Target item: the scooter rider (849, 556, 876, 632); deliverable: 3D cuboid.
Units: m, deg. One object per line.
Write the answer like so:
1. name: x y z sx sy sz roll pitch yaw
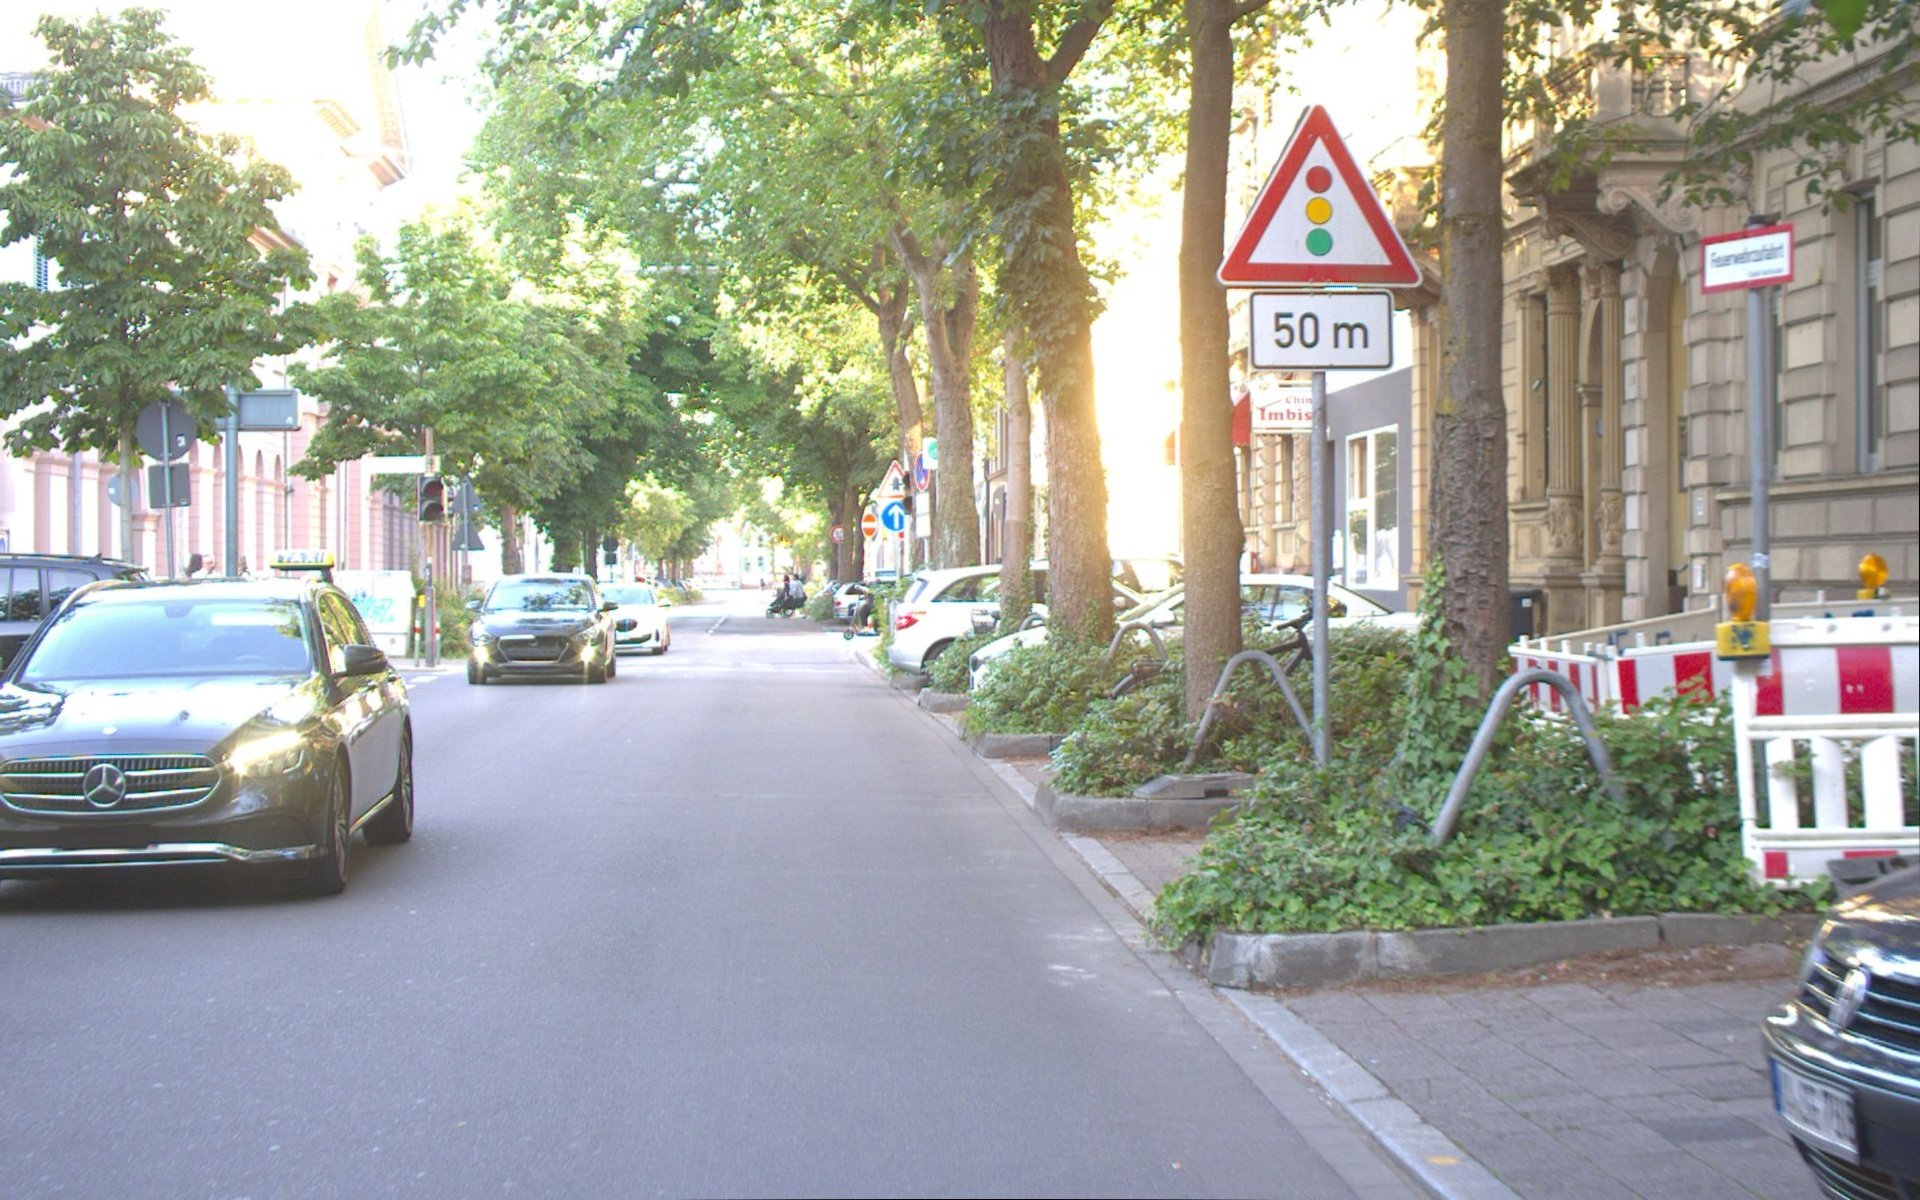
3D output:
1. scooter rider: -2.287 -0.143 80.909 0.494 1.785 0.874 0 -1 6

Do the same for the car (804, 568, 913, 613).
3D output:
1. car: -3.820 -0.367 129.242 4.014 1.617 1.781 -1 0 -4

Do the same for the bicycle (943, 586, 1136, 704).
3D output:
1. bicycle: 0.871 0.486 37.754 2.019 1.200 0.488 -2 0 -15

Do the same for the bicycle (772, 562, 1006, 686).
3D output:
1. bicycle: -0.973 0.324 46.904 3.112 1.657 0.658 1 0 -7

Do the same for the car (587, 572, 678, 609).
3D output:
1. car: -18.853 -0.550 198.138 5.064 2.076 2.263 -1 1 -2

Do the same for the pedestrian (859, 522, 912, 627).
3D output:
1. pedestrian: -1.549 -0.527 71.713 1.043 2.139 1.063 1 0 -3

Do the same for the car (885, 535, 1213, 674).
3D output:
1. car: 1.262 0.047 50.098 4.539 1.908 1.951 -1 0 -5

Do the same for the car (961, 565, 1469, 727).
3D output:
1. car: 2.325 0.406 32.238 4.583 1.432 1.925 -1 1 -1

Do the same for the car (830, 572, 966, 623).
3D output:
1. car: -1.984 -0.095 108.602 4.192 1.475 1.852 -2 1 -3

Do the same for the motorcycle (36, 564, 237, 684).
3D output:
1. motorcycle: -9.911 0.290 41.389 2.150 1.414 0.967 -1 0 18

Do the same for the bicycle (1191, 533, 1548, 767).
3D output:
1. bicycle: 2.464 0.299 20.755 2.046 1.356 0.508 1 1 -5

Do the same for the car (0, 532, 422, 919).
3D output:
1. car: -3.825 0.519 17.066 1.876 1.635 4.647 -1 1 -4

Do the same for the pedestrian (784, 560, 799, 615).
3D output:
1. pedestrian: -6.263 -0.457 127.607 0.502 2.007 0.621 1 0 -2

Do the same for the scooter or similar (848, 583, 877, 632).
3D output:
1. scooter or similar: -2.293 0.187 80.858 0.502 1.141 1.249 0 0 7

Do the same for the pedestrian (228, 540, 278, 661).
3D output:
1. pedestrian: -10.813 0.000 52.555 0.554 1.844 0.611 0 0 11

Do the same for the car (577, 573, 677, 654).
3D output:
1. car: -6.643 0.241 68.975 1.876 1.543 4.276 -1 1 -4

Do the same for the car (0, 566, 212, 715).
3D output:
1. car: -9.902 0.386 36.126 3.741 1.453 1.735 2 0 -4

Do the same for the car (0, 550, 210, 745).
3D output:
1. car: -8.760 0.373 29.839 4.092 1.626 1.936 1 0 -2

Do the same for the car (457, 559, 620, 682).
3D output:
1. car: -5.591 0.247 46.030 1.876 1.543 4.275 -1 1 -3

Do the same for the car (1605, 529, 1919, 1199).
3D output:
1. car: 3.517 0.527 6.269 4.223 1.476 1.855 -3 1 -3

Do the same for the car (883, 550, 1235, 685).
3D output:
1. car: 1.194 0.196 42.474 4.224 1.555 1.971 -1 1 0

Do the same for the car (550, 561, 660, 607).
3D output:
1. car: -16.689 -0.749 161.871 5.063 2.076 2.263 -1 1 -3

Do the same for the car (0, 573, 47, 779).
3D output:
1. car: -8.753 0.475 24.382 4.074 1.435 1.755 2 0 -2

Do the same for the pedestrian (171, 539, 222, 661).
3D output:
1. pedestrian: -11.686 -0.002 52.627 0.554 1.844 0.611 0 0 12
